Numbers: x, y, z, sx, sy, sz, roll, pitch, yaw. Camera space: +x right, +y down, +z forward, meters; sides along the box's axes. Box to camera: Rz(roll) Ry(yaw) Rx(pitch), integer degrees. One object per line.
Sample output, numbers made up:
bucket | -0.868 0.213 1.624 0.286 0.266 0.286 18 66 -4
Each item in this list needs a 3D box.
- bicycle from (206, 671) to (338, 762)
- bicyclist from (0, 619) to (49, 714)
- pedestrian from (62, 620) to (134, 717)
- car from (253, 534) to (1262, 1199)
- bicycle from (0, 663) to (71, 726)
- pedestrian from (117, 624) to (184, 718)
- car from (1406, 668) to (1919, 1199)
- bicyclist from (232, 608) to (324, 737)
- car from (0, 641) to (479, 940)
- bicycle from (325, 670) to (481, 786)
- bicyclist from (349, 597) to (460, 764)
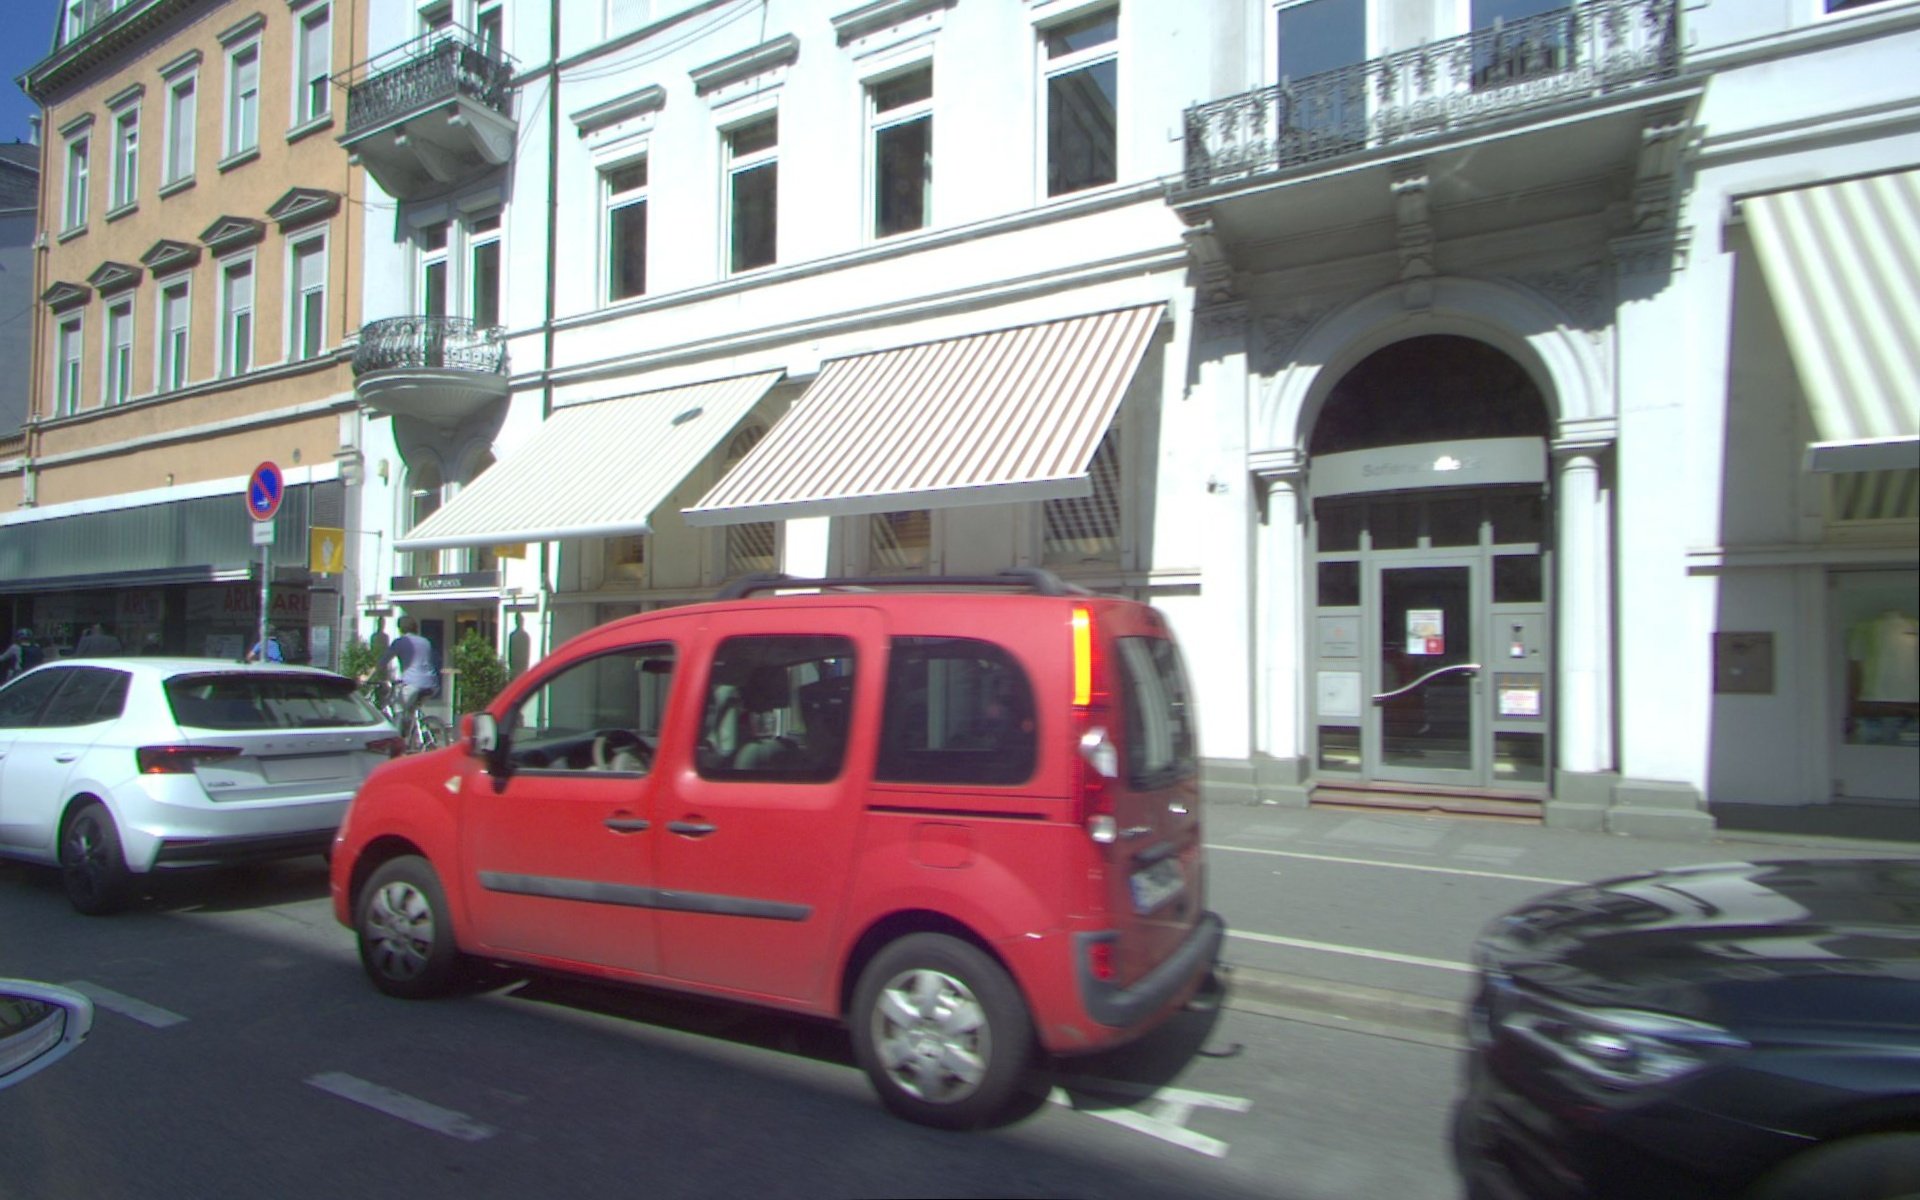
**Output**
bicycle | -9.498 1.568 13.803 2.071 1.134 0.646 -1 -3 30
bicyclist | -16.493 1.150 17.498 0.907 1.615 0.582 0 -2 31
pedestrian | -16.044 1.256 18.641 0.826 1.739 0.874 -1 -2 41
car | -0.960 0.834 4.630 4.283 1.886 1.829 0 -4 26
bicycle | -16.241 1.613 17.401 2.072 1.009 0.563 -1 -3 31
pedestrian | -15.174 1.310 18.770 0.930 1.706 0.646 0 -2 30
car | 3.627 0.931 1.650 5.147 1.487 1.859 -1 -5 30
bicyclist | -9.388 0.983 13.785 0.998 1.706 0.646 0 -2 30
car | -5.751 1.091 7.068 4.507 1.484 1.815 0 -4 27
bicycle | -6.296 1.402 11.287 2.041 1.135 0.554 0 -1 30
bicyclist | -6.269 0.890 11.306 0.998 1.791 0.646 0 -2 30
